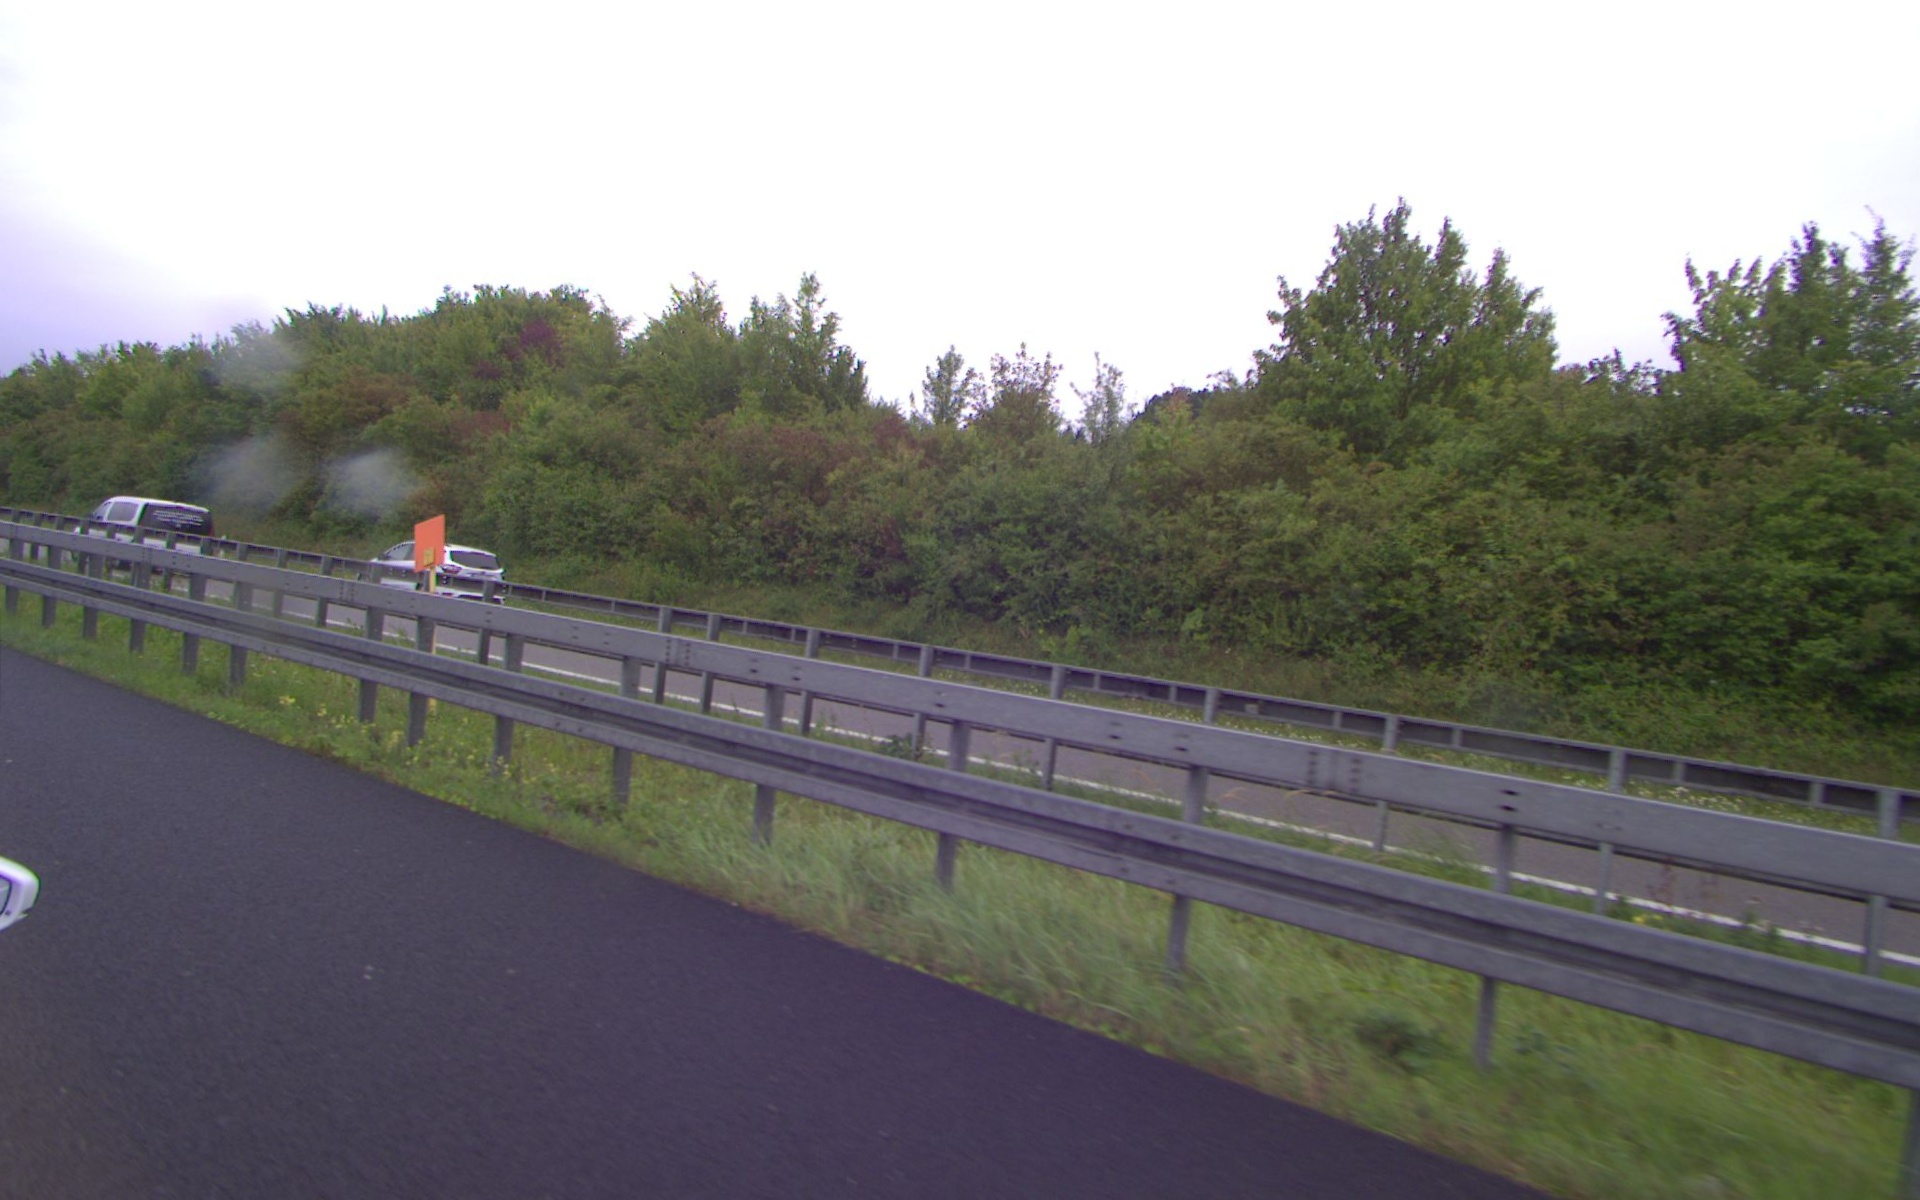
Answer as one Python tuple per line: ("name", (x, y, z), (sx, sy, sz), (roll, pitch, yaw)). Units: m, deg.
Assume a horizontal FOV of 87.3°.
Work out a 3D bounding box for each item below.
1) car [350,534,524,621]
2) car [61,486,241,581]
("car", (-12.973, -0.571, 24.921), (4.077, 1.632, 1.899), (7, -1, 32))
("car", (-20.376, -1.683, 25.325), (4.203, 1.836, 2.012), (7, -1, 29))
